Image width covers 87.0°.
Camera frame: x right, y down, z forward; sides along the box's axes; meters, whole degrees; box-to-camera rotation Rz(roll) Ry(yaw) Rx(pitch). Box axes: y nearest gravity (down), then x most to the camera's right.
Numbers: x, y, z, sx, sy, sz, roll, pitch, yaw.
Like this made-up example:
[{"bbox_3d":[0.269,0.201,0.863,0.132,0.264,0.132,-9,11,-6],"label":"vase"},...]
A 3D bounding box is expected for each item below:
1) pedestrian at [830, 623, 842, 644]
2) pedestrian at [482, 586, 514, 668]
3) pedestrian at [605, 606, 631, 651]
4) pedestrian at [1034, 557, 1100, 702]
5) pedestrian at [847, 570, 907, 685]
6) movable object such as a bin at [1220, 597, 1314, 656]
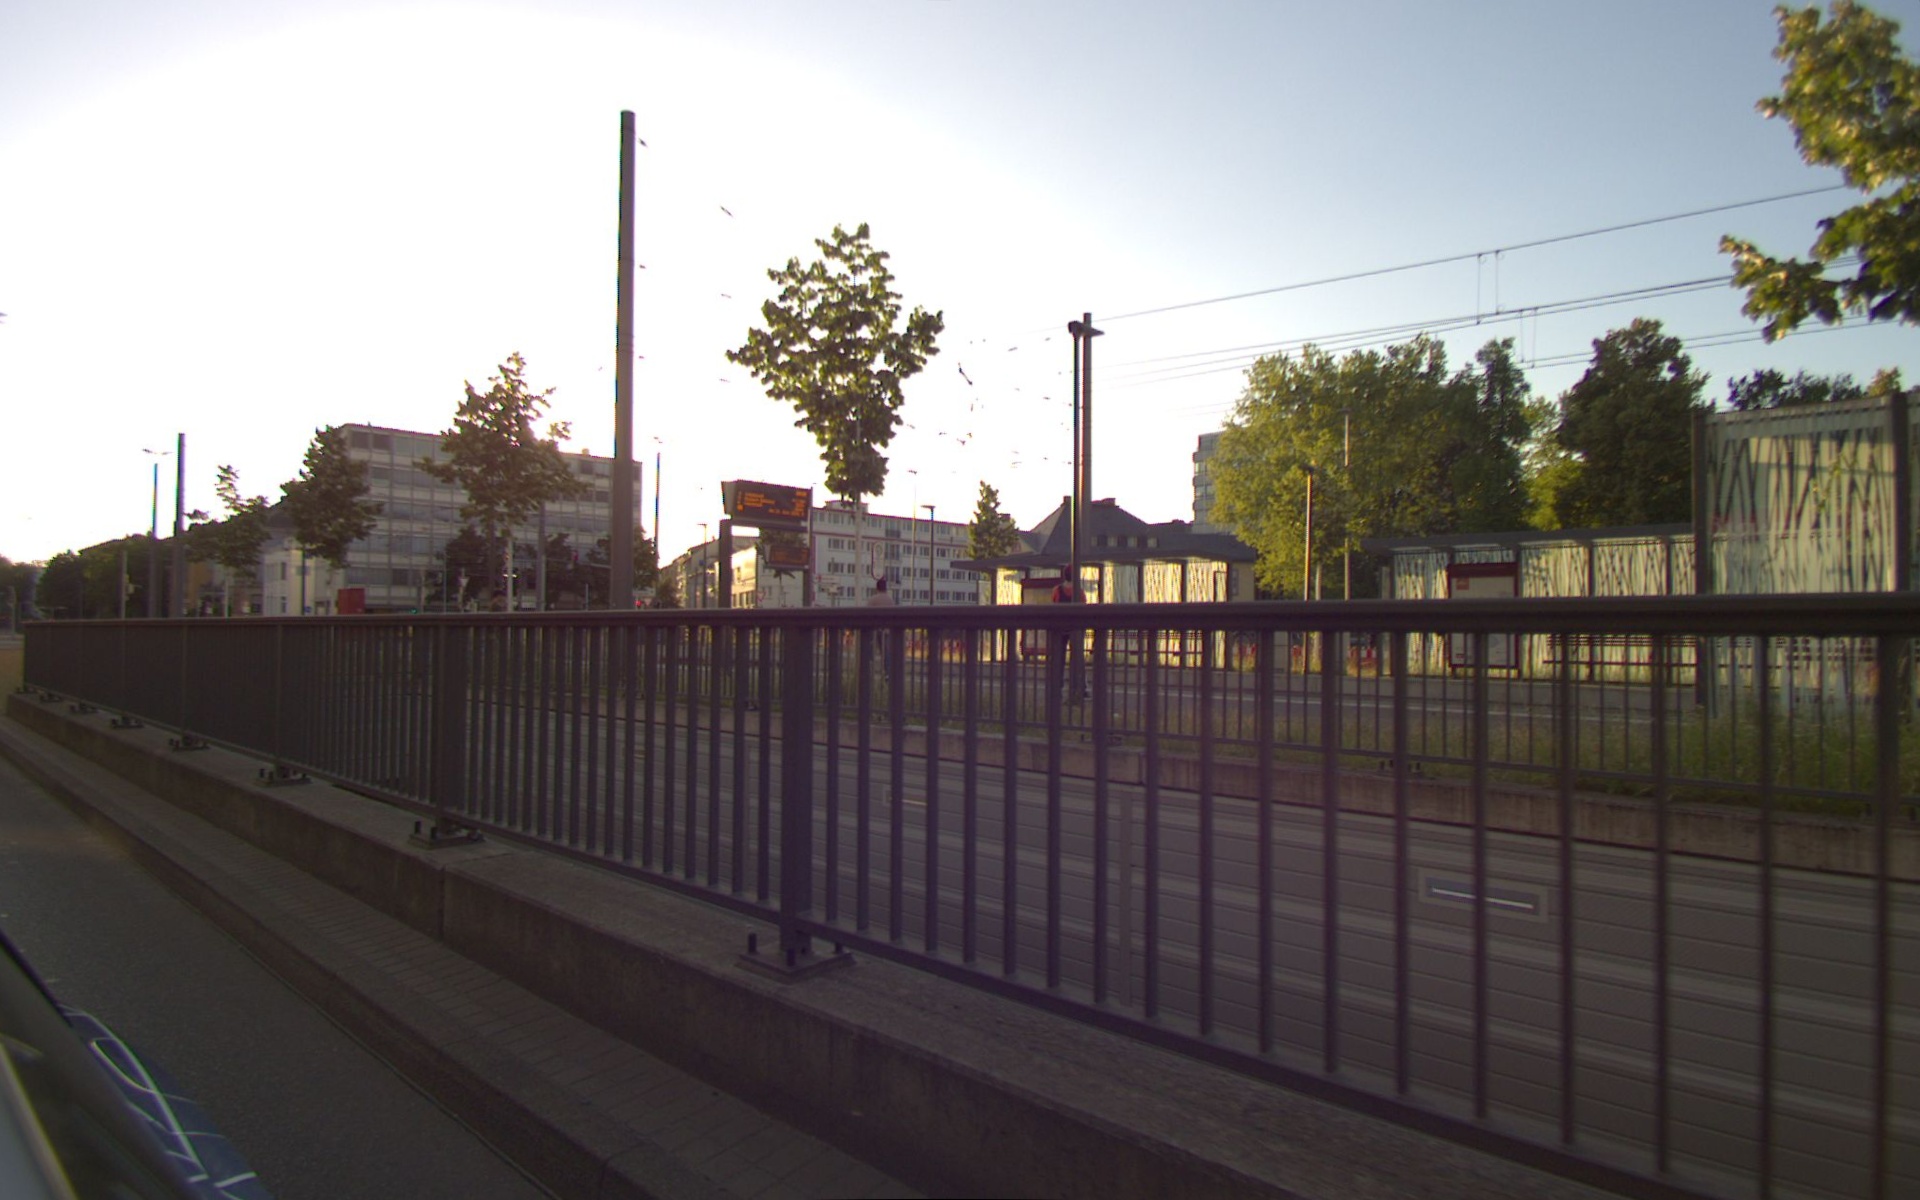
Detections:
[{"bbox_3d":[-9.295,2.482,75.637,0.645,1.521,0.591,4,-4,-44],"label":"pedestrian"},{"bbox_3d":[-10.399,0.604,22.770,0.465,1.800,0.627,1,-2,-41],"label":"pedestrian"},{"bbox_3d":[-13.791,1.150,40.817,0.817,1.812,0.686,-1,-2,43],"label":"pedestrian"},{"bbox_3d":[1.339,0.371,12.613,0.633,1.742,0.630,-1,-2,29],"label":"pedestrian"},{"bbox_3d":[-1.310,0.432,15.968,0.634,1.758,0.719,-2,-2,34],"label":"pedestrian"},{"bbox_3d":[14.970,1.291,49.533,1.967,2.727,4.010,1,-2,-35],"label":"movable object such as a bin"}]
